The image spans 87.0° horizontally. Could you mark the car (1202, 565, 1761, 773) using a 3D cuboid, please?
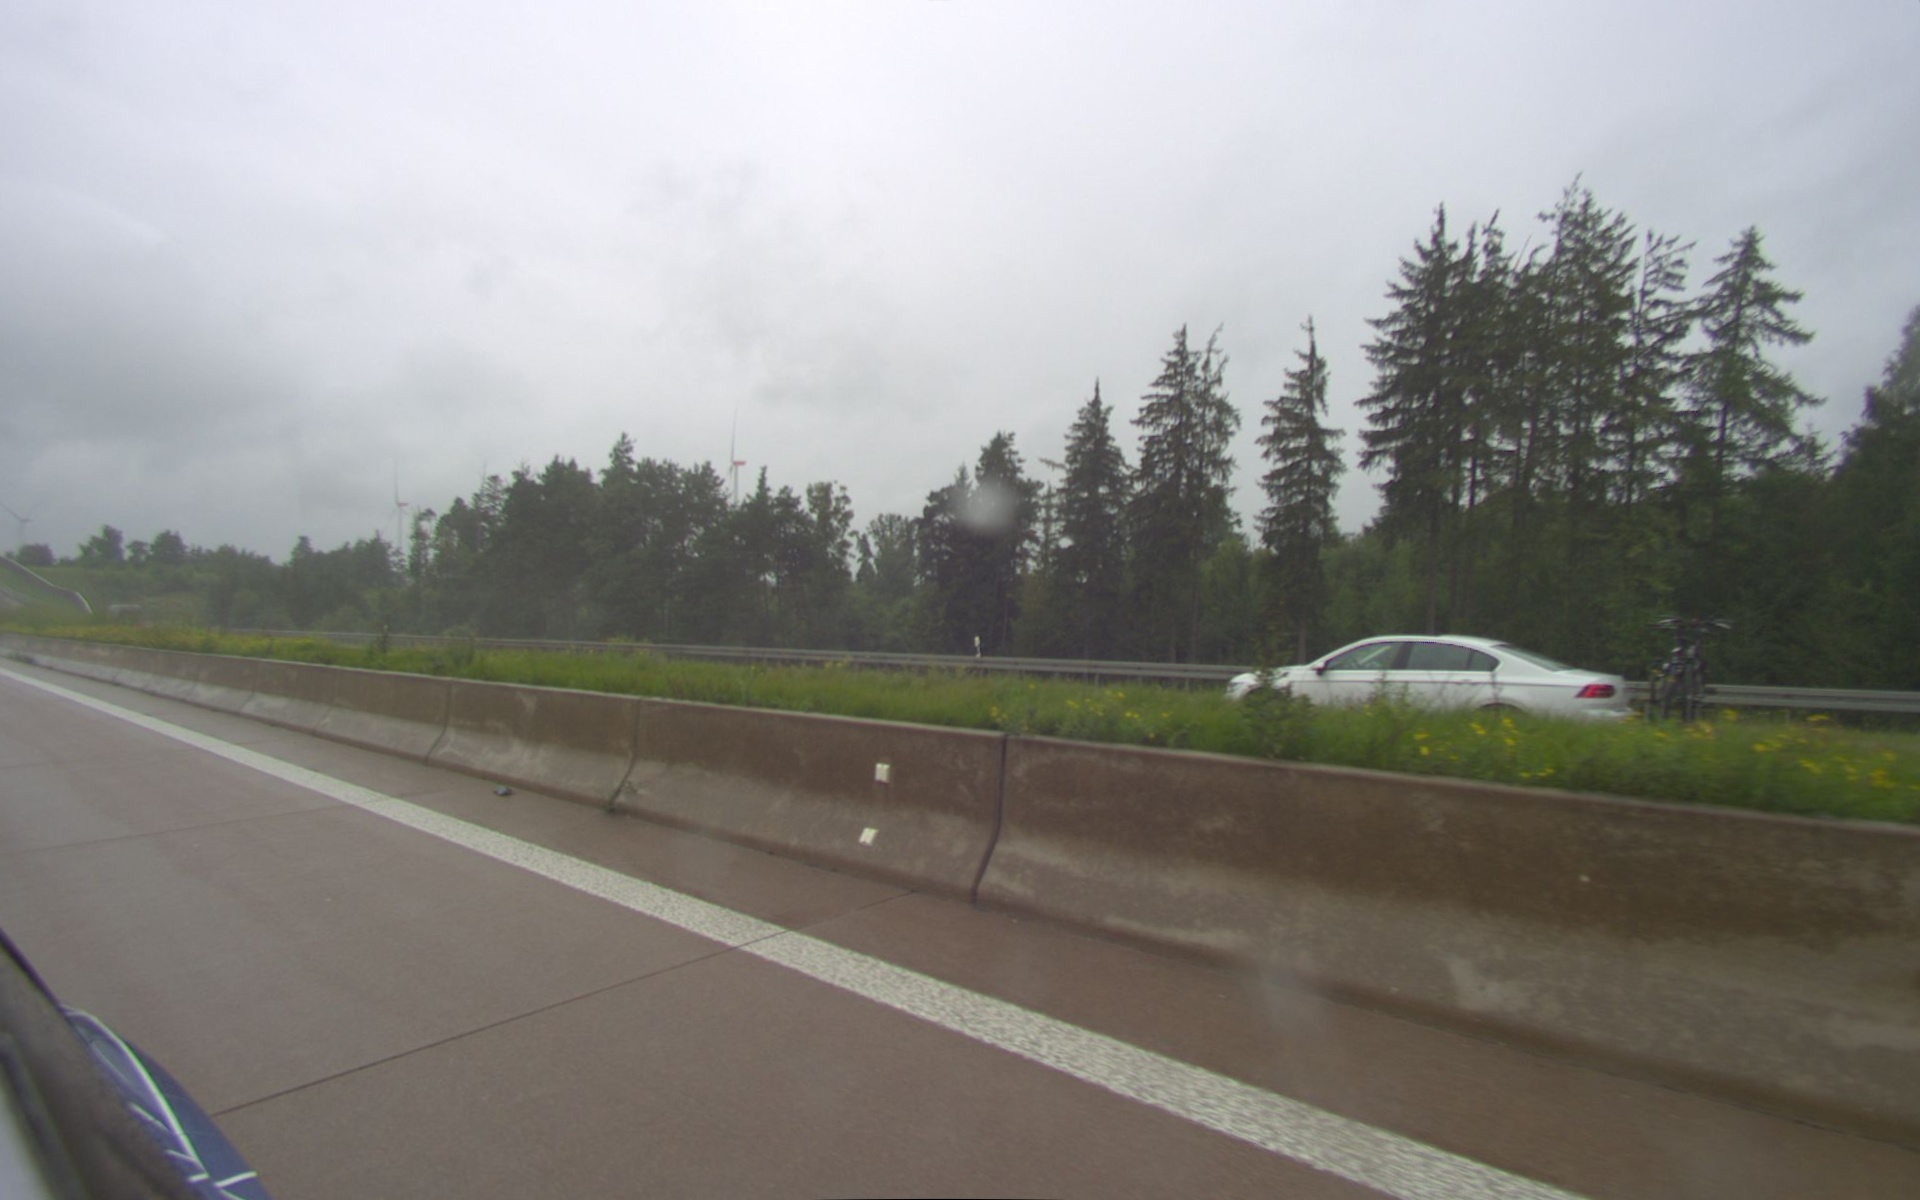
[{"bbox_3d":[6.149,0.700,12.486,5.753,1.993,2.282,-1,-1,41],"label":"car"}]
